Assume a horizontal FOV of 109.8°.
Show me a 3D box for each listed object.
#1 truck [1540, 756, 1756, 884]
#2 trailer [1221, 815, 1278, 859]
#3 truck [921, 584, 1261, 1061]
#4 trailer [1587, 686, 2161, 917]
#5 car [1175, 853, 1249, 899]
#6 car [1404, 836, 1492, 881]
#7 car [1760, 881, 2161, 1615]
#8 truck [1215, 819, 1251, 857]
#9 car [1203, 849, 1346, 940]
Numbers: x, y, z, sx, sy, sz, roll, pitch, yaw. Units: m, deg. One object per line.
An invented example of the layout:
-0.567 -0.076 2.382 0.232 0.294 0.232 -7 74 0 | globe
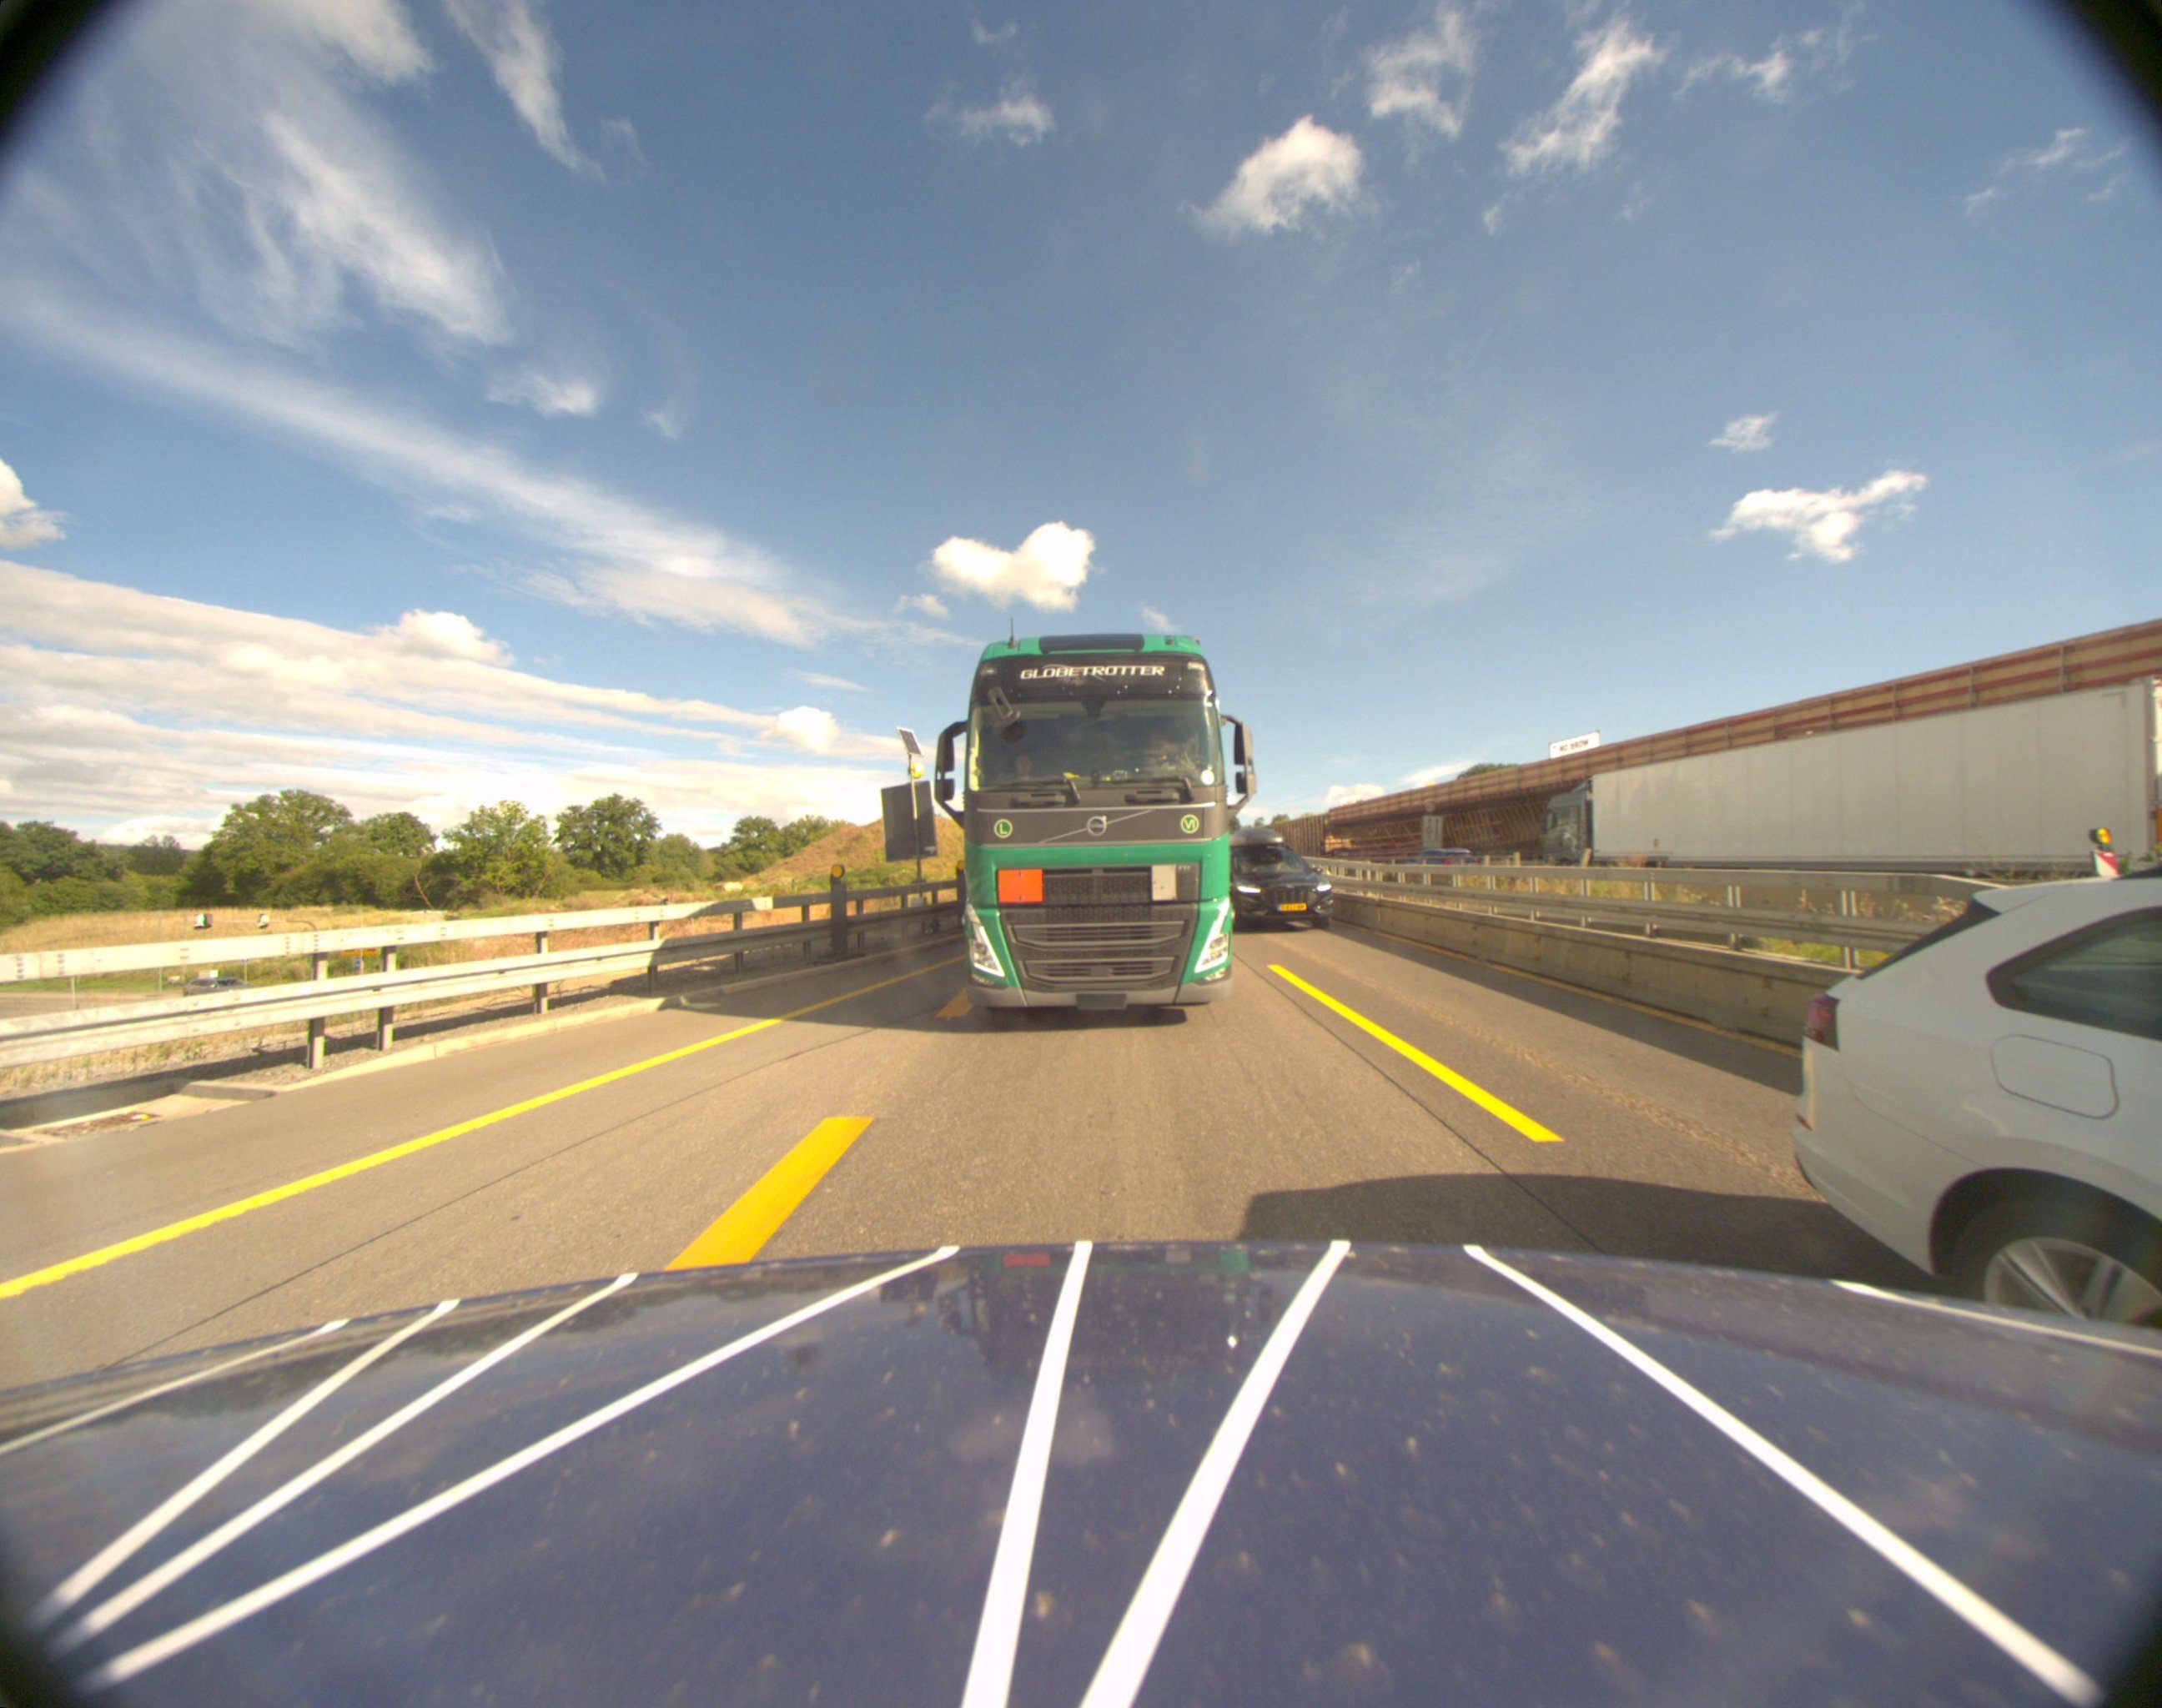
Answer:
18.997 -1.054 26.015 2.784 3.766 6.016 -2 1 -1 | truck
17.596 -1.766 80.620 2.694 4.132 13.808 -2 1 -1 | trailer
0.038 -0.318 11.424 2.664 3.825 10.315 -2 1 -1 | truck
19.108 -1.008 19.510 2.828 3.819 13.800 -2 1 -1 | trailer
4.882 0.763 28.900 1.949 1.422 4.504 -4 1 0 | car
15.504 0.161 32.361 1.998 1.716 4.123 -2 1 5 | car
3.125 0.896 0.284 1.774 1.483 4.515 -1 2 2 | car
17.487 -1.861 87.694 2.719 4.114 5.969 -2 1 -1 | truck
3.831 0.714 15.833 1.804 1.533 4.383 -1 1 -1 | car
